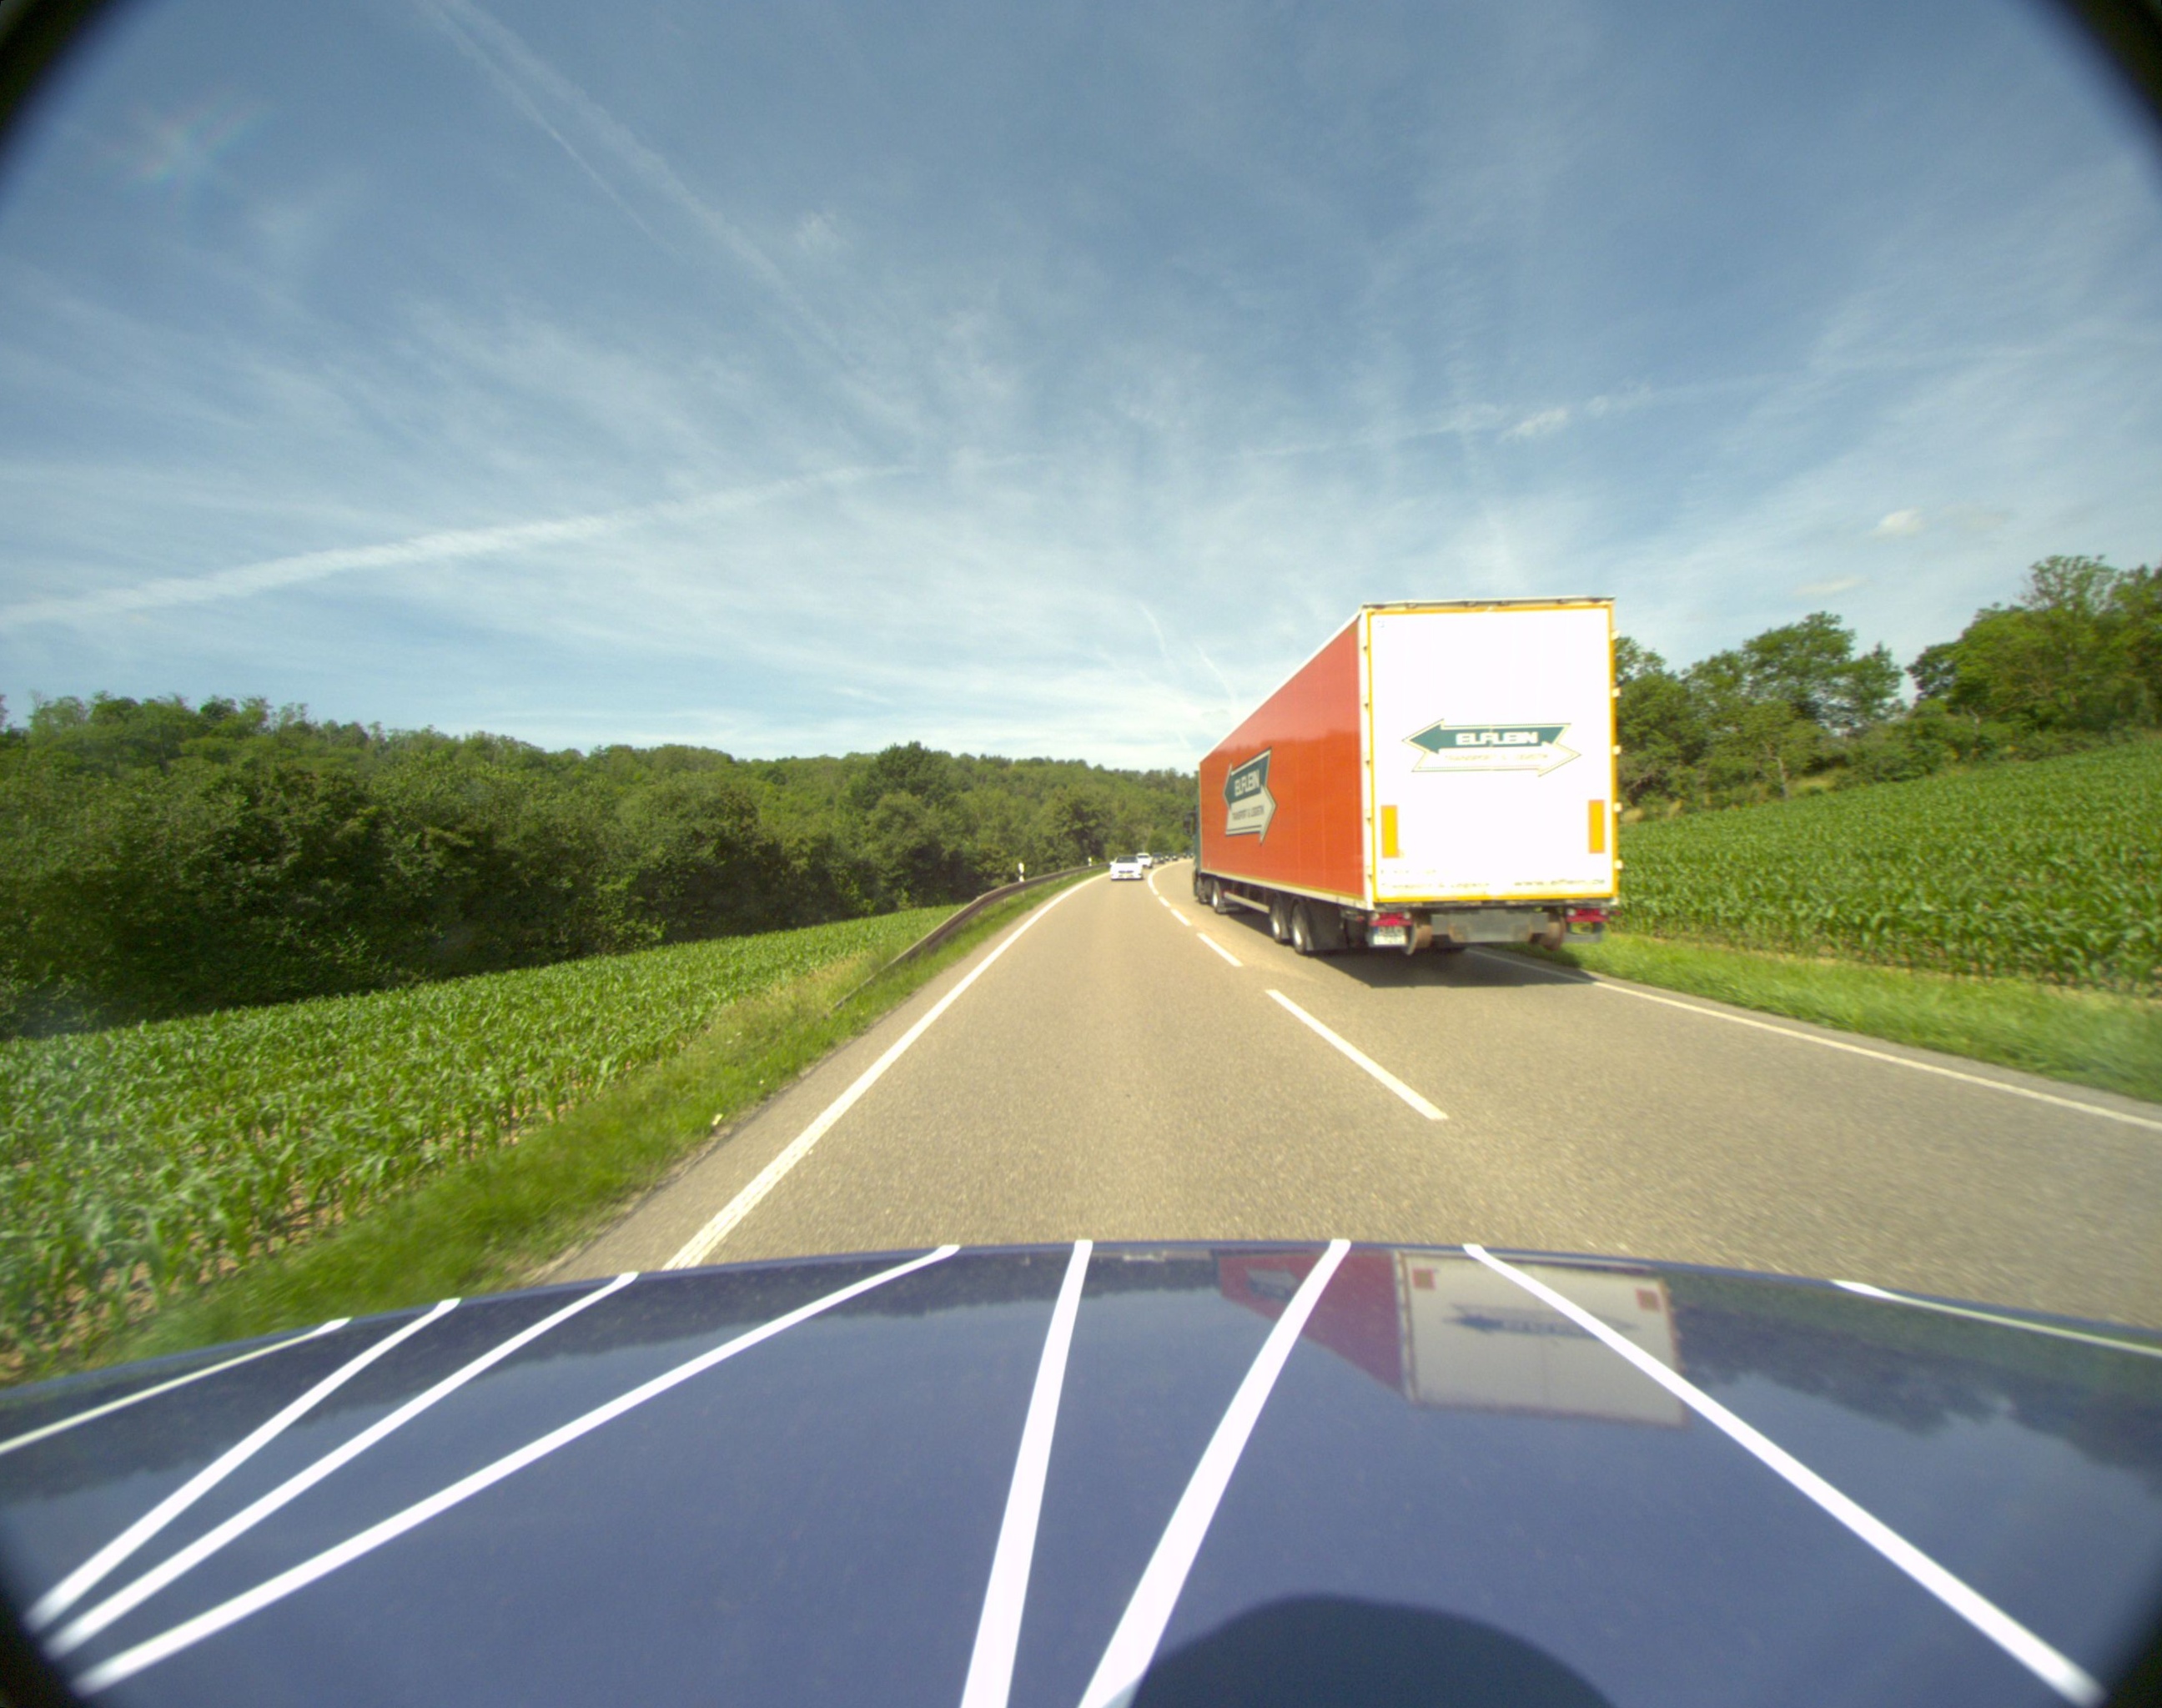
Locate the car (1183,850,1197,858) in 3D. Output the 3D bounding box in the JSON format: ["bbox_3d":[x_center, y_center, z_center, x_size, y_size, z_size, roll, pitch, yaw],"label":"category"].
[{"bbox_3d":[21.559,-0.018,150.346,1.740,1.445,4.041,-1,1,21],"label":"car"}]

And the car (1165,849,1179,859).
[{"bbox_3d":[14.558,-0.048,121.638,1.741,1.445,4.039,-1,1,14],"label":"car"}]

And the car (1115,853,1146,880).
[{"bbox_3d":[2.938,0.706,45.270,1.742,1.445,4.036,-1,1,4],"label":"car"}]

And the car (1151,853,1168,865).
[{"bbox_3d":[10.385,0.701,100.728,1.741,1.445,4.039,-1,1,12],"label":"car"}]

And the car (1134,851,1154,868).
[{"bbox_3d":[6.267,0.562,75.481,1.716,1.523,4.001,-2,1,7],"label":"car"}]

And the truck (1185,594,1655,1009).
[{"bbox_3d":[4.476,-0.516,15.951,2.777,3.975,17.029,-2,0,2],"label":"truck"}]
